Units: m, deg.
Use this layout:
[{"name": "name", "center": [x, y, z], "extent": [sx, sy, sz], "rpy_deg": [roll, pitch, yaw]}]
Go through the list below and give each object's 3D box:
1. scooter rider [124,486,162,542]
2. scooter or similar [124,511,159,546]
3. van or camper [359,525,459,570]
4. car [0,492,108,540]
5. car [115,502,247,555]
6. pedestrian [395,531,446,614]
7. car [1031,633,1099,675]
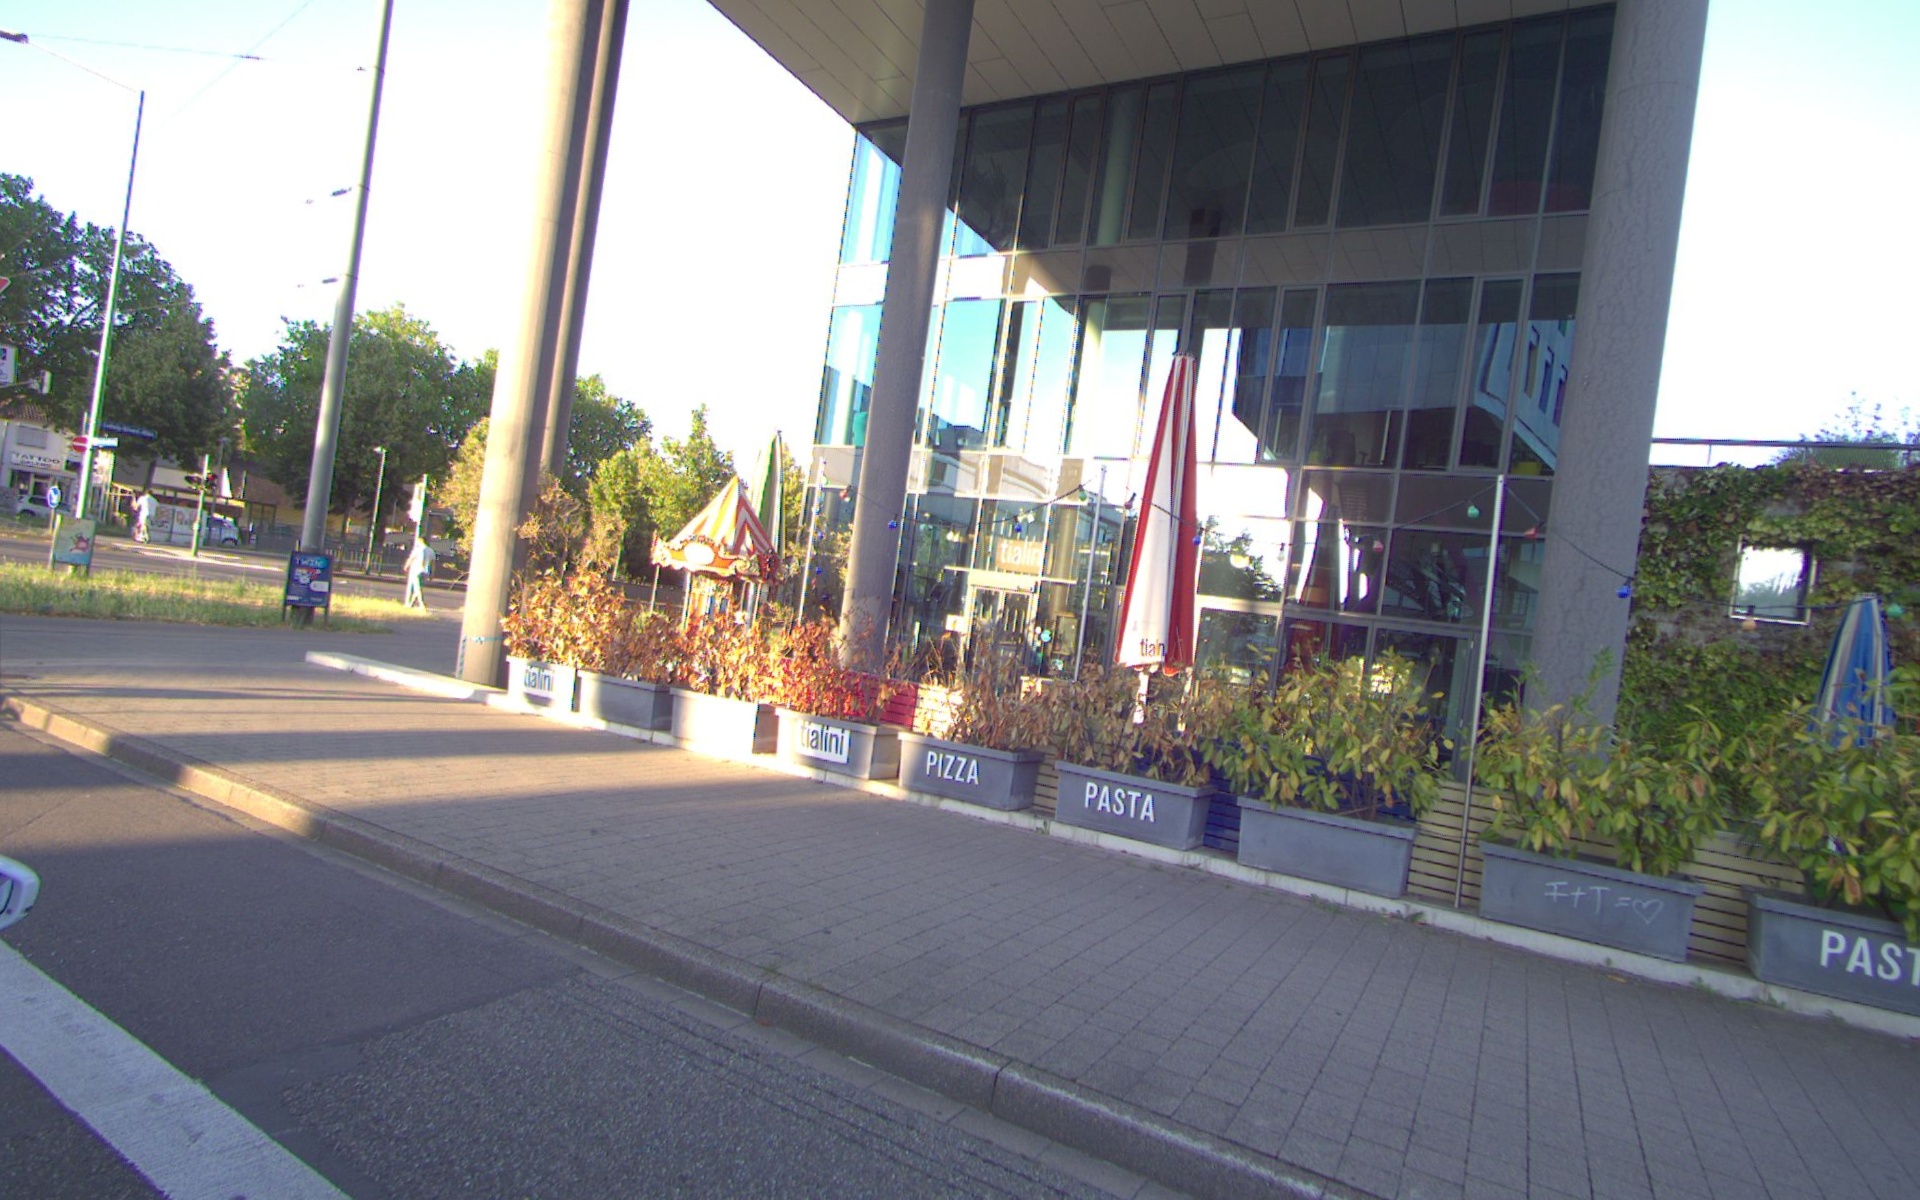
[{"name": "scooter rider", "center": [-29.447, -3.100, 36.245], "extent": [0.658, 1.876, 0.703], "rpy_deg": [7, -1, 31]}, {"name": "scooter or similar", "center": [-29.467, -2.566, 36.223], "extent": [1.222, 1.103, 0.511], "rpy_deg": [7, -1, 32]}, {"name": "van or camper", "center": [-43.950, -4.144, 80.422], "extent": [2.229, 2.438, 6.569], "rpy_deg": [7, -2, 36]}, {"name": "car", "center": [-50.603, -4.672, 56.079], "extent": [1.968, 1.868, 4.236], "rpy_deg": [7, -2, 34]}, {"name": "car", "center": [-37.378, -3.403, 48.430], "extent": [1.829, 1.748, 4.547], "rpy_deg": [7, -2, 27]}, {"name": "pedestrian", "center": [-12.669, -0.655, 23.608], "extent": [0.757, 1.812, 0.794], "rpy_deg": [8, -1, -35]}, {"name": "car", "center": [5.868, 3.020, 55.775], "extent": [1.826, 1.849, 4.390], "rpy_deg": [10, 0, 31]}]
